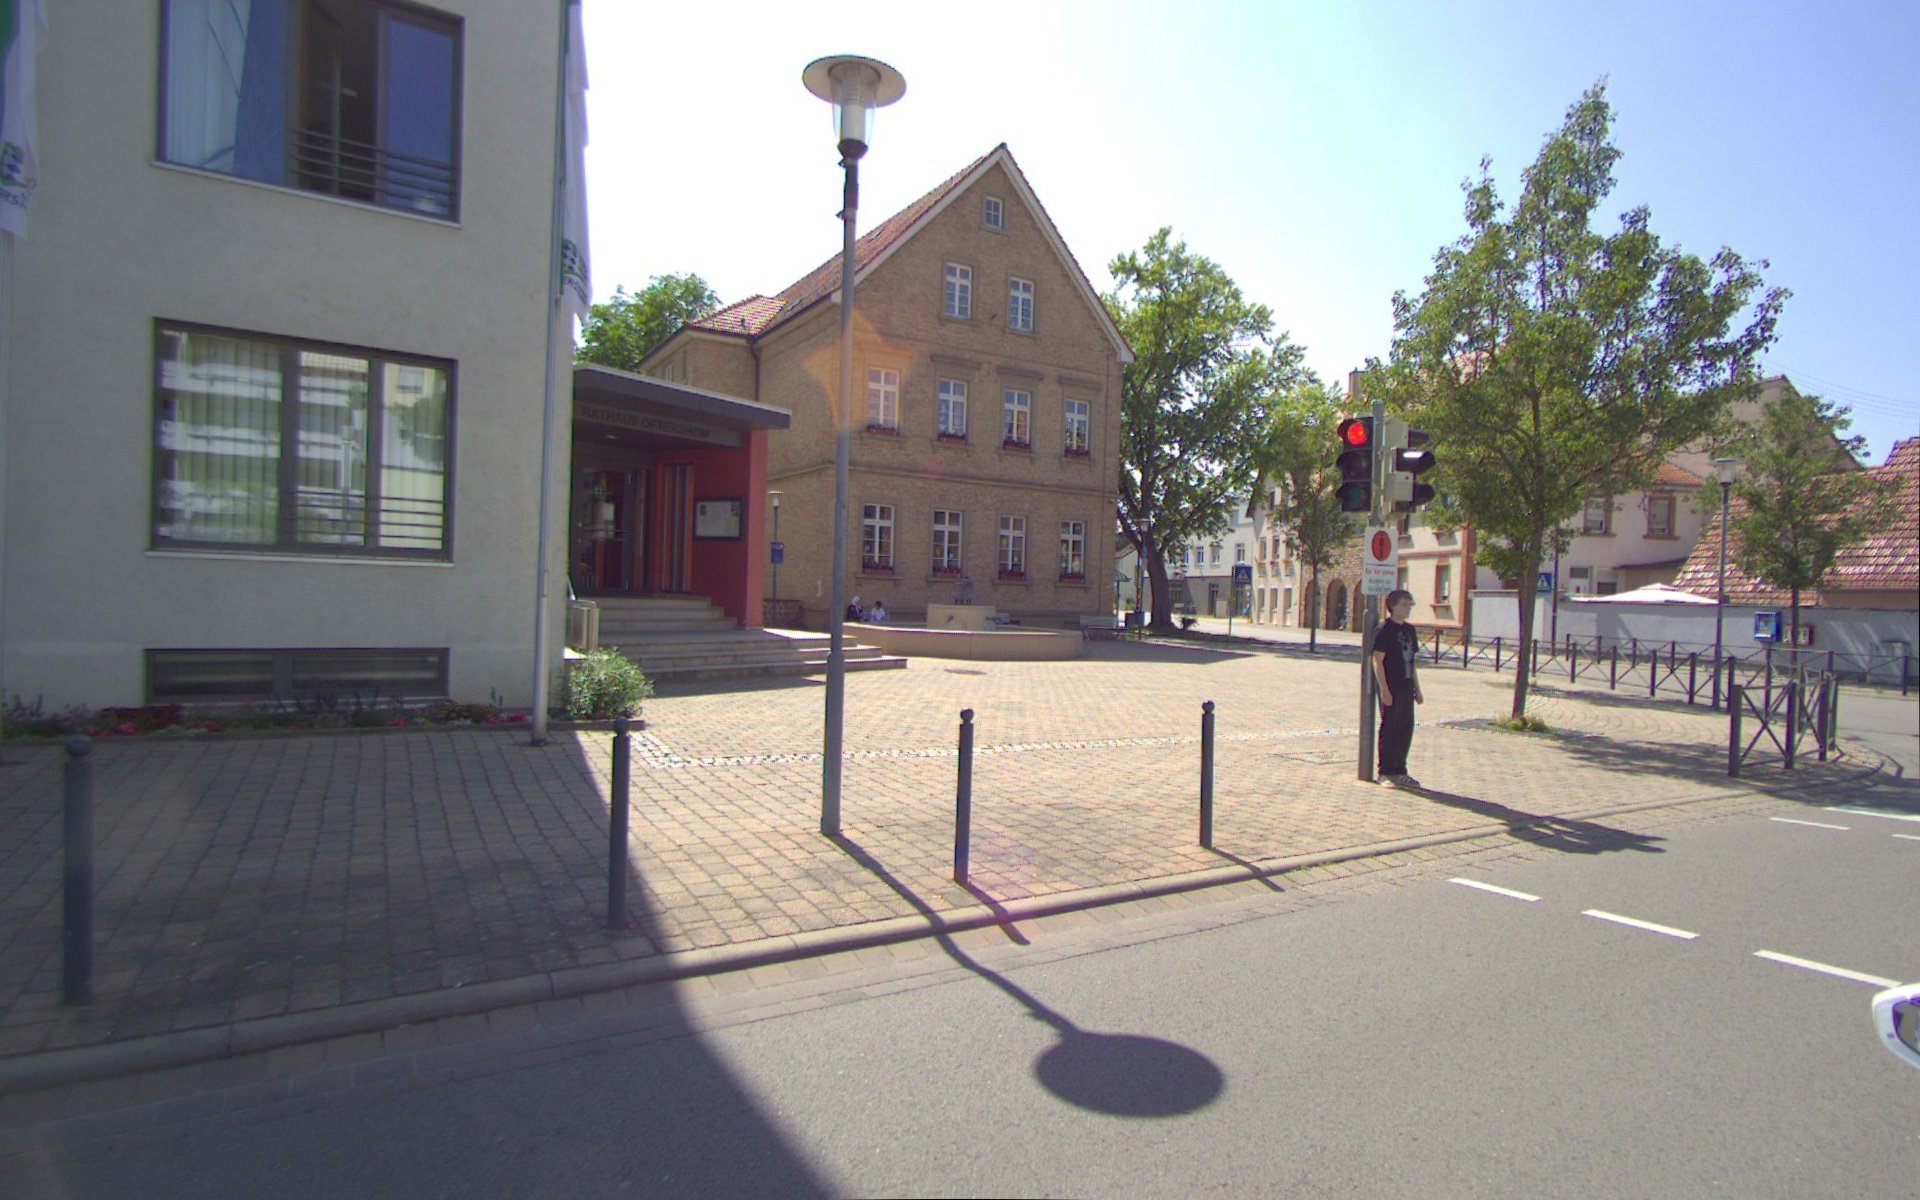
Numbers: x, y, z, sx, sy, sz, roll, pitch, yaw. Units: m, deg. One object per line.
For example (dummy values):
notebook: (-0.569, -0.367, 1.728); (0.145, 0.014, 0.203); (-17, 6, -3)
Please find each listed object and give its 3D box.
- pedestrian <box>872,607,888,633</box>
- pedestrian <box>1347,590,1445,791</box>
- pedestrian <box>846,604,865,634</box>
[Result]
pedestrian: (-2.298, 0.572, 28.885); (0.352, 0.742, 0.288); (2, 0, 43)
pedestrian: (3.730, 0.753, 8.624); (0.546, 1.640, 0.550); (3, 0, 4)
pedestrian: (-2.952, 0.536, 28.390); (0.356, 0.828, 0.365); (2, 0, 42)
